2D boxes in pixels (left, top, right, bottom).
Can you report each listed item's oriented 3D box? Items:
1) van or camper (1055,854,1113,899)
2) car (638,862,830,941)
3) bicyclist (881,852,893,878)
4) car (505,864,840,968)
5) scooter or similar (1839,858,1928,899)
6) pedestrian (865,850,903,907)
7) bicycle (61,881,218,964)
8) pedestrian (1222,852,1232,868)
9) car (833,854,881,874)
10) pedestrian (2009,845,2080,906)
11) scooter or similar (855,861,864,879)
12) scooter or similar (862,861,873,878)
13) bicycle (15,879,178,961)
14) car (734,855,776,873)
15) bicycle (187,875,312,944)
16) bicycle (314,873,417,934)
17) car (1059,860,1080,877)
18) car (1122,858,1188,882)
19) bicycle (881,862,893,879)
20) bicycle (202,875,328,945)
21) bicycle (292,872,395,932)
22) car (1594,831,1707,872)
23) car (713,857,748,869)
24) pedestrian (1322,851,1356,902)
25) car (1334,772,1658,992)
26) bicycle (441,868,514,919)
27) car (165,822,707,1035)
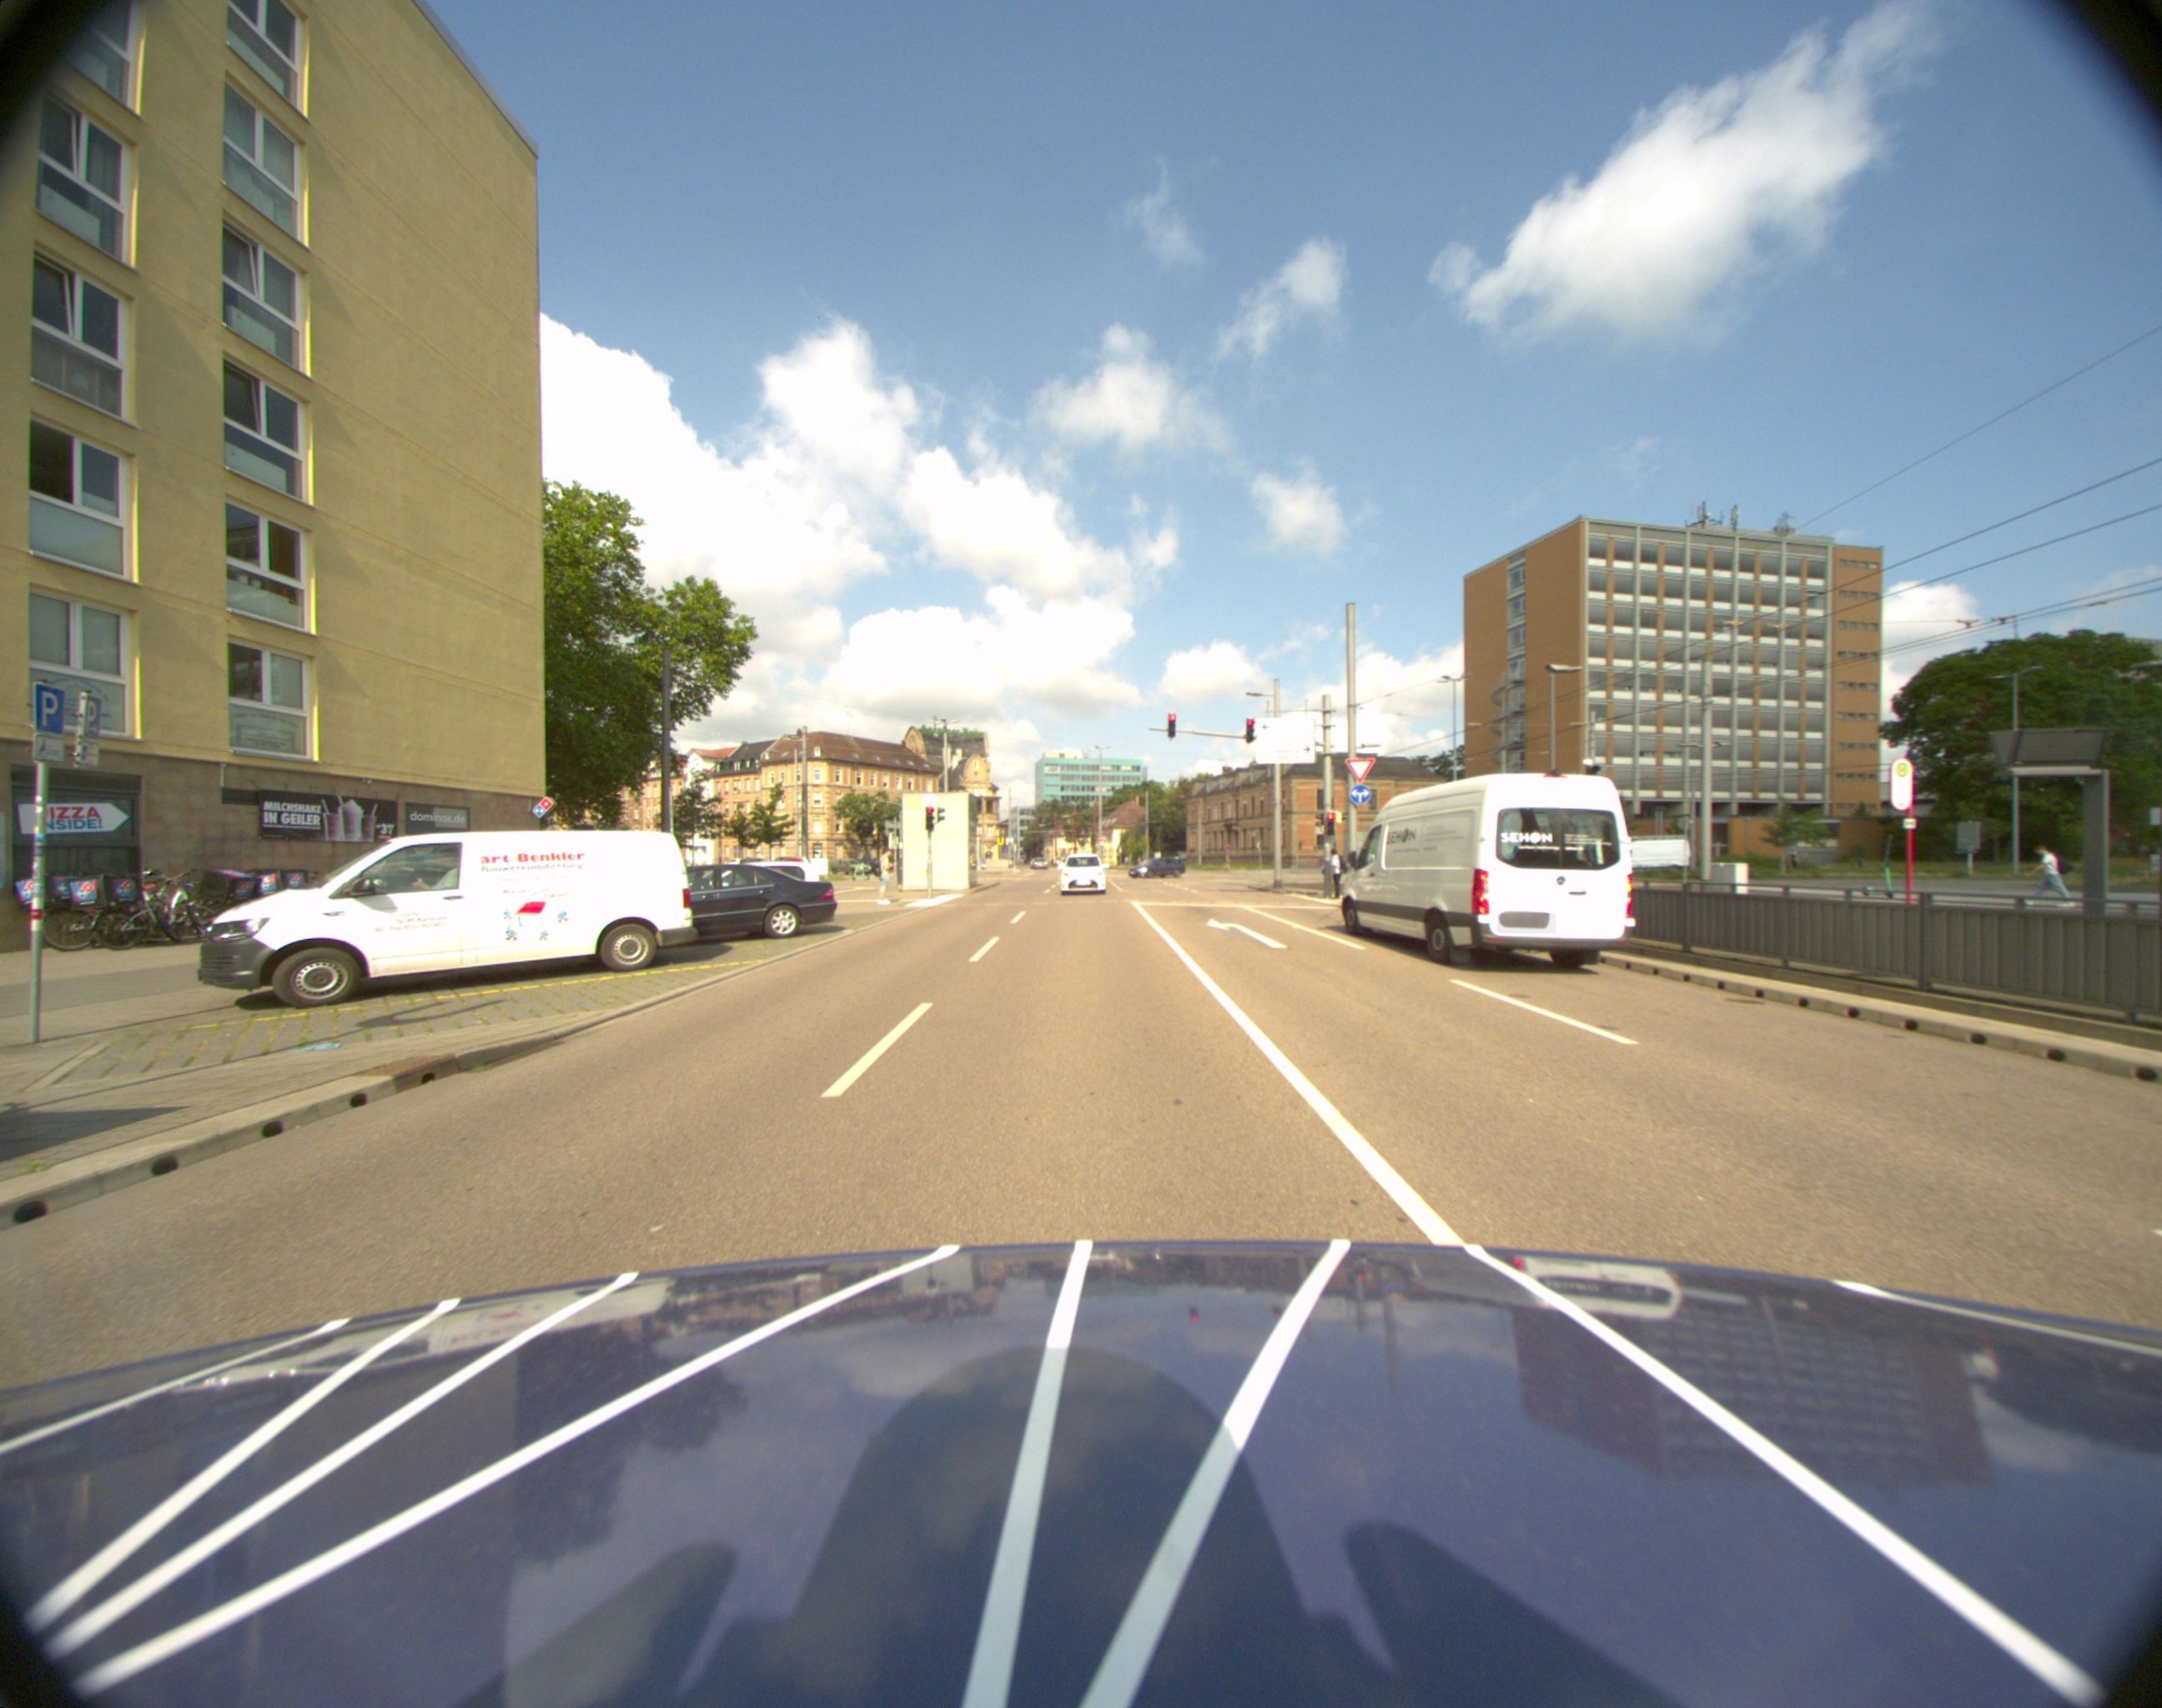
[{"bbox_3d":[0.184,0.759,27.314,1.626,1.467,4.002,0,0,7],"label":"van or camper"},{"bbox_3d":[-7.678,0.977,16.954,3.518,1.432,1.715,-3,1,-40],"label":"car"},{"bbox_3d":[-13.780,0.779,53.902,0.712,1.735,0.826,3,1,-17],"label":"bicyclist"},{"bbox_3d":[-7.230,0.965,13.842,5.074,1.460,1.885,-1,1,-41],"label":"car"},{"bbox_3d":[26.605,0.796,25.243,1.337,1.183,1.494,-2,4,3],"label":"scooter or similar"},{"bbox_3d":[-6.435,0.791,24.810,0.996,1.750,0.784,-3,4,-23],"label":"pedestrian"},{"bbox_3d":[-15.254,1.073,12.375,0.487,1.194,1.645,0,0,0],"label":"bicycle"},{"bbox_3d":[15.920,0.616,82.869,0.784,1.727,0.858,-1,1,-11],"label":"pedestrian"},{"bbox_3d":[-19.986,0.872,67.768,3.988,1.505,1.829,0,5,33],"label":"car"},{"bbox_3d":[27.620,0.605,21.802,1.094,1.679,0.931,-1,0,42],"label":"pedestrian"},{"bbox_3d":[-14.577,1.028,50.030,0.382,1.151,0.927,-1,1,-26],"label":"scooter or similar"},{"bbox_3d":[-14.152,1.020,50.441,0.382,1.151,0.927,-1,1,-38],"label":"scooter or similar"},{"bbox_3d":[-15.850,1.025,12.303,0.487,1.194,1.645,0,0,0],"label":"bicycle"},{"bbox_3d":[-32.276,0.963,75.263,3.988,1.543,2.004,2,3,36],"label":"car"},{"bbox_3d":[-15.867,1.026,14.565,0.487,1.194,1.646,0,0,5],"label":"bicycle"},{"bbox_3d":[-15.244,1.027,16.247,0.548,1.194,1.646,0,0,5],"label":"bicycle"},{"bbox_3d":[-1.442,1.817,95.196,2.000,1.730,4.335,-3,4,-9],"label":"car"},{"bbox_3d":[5.316,1.102,54.267,4.551,1.274,1.994,-5,5,-38],"label":"car"},{"bbox_3d":[-13.795,1.177,54.010,0.790,1.121,1.989,-1,0,-15],"label":"bicycle"},{"bbox_3d":[-15.341,1.019,14.347,0.487,1.194,1.646,0,0,5],"label":"bicycle"},{"bbox_3d":[-15.800,0.997,16.336,0.487,1.194,1.646,0,0,5],"label":"bicycle"},{"bbox_3d":[41.599,-0.177,55.721,6.136,2.862,2.489,0,1,17],"label":"car"},{"bbox_3d":[-47.460,1.241,102.986,4.223,1.438,1.686,-2,2,20],"label":"car"},{"bbox_3d":[8.623,0.737,25.427,0.844,1.664,0.795,1,1,-1],"label":"pedestrian"},{"bbox_3d":[5.907,0.332,11.921,1.998,2.606,5.580,1,0,0],"label":"car"},{"bbox_3d":[-15.841,1.007,19.985,0.487,1.265,1.646,0,0,5],"label":"bicycle"},{"bbox_3d":[-7.845,0.703,9.854,4.909,2.072,2.074,-2,0,-45],"label":"car"}]
